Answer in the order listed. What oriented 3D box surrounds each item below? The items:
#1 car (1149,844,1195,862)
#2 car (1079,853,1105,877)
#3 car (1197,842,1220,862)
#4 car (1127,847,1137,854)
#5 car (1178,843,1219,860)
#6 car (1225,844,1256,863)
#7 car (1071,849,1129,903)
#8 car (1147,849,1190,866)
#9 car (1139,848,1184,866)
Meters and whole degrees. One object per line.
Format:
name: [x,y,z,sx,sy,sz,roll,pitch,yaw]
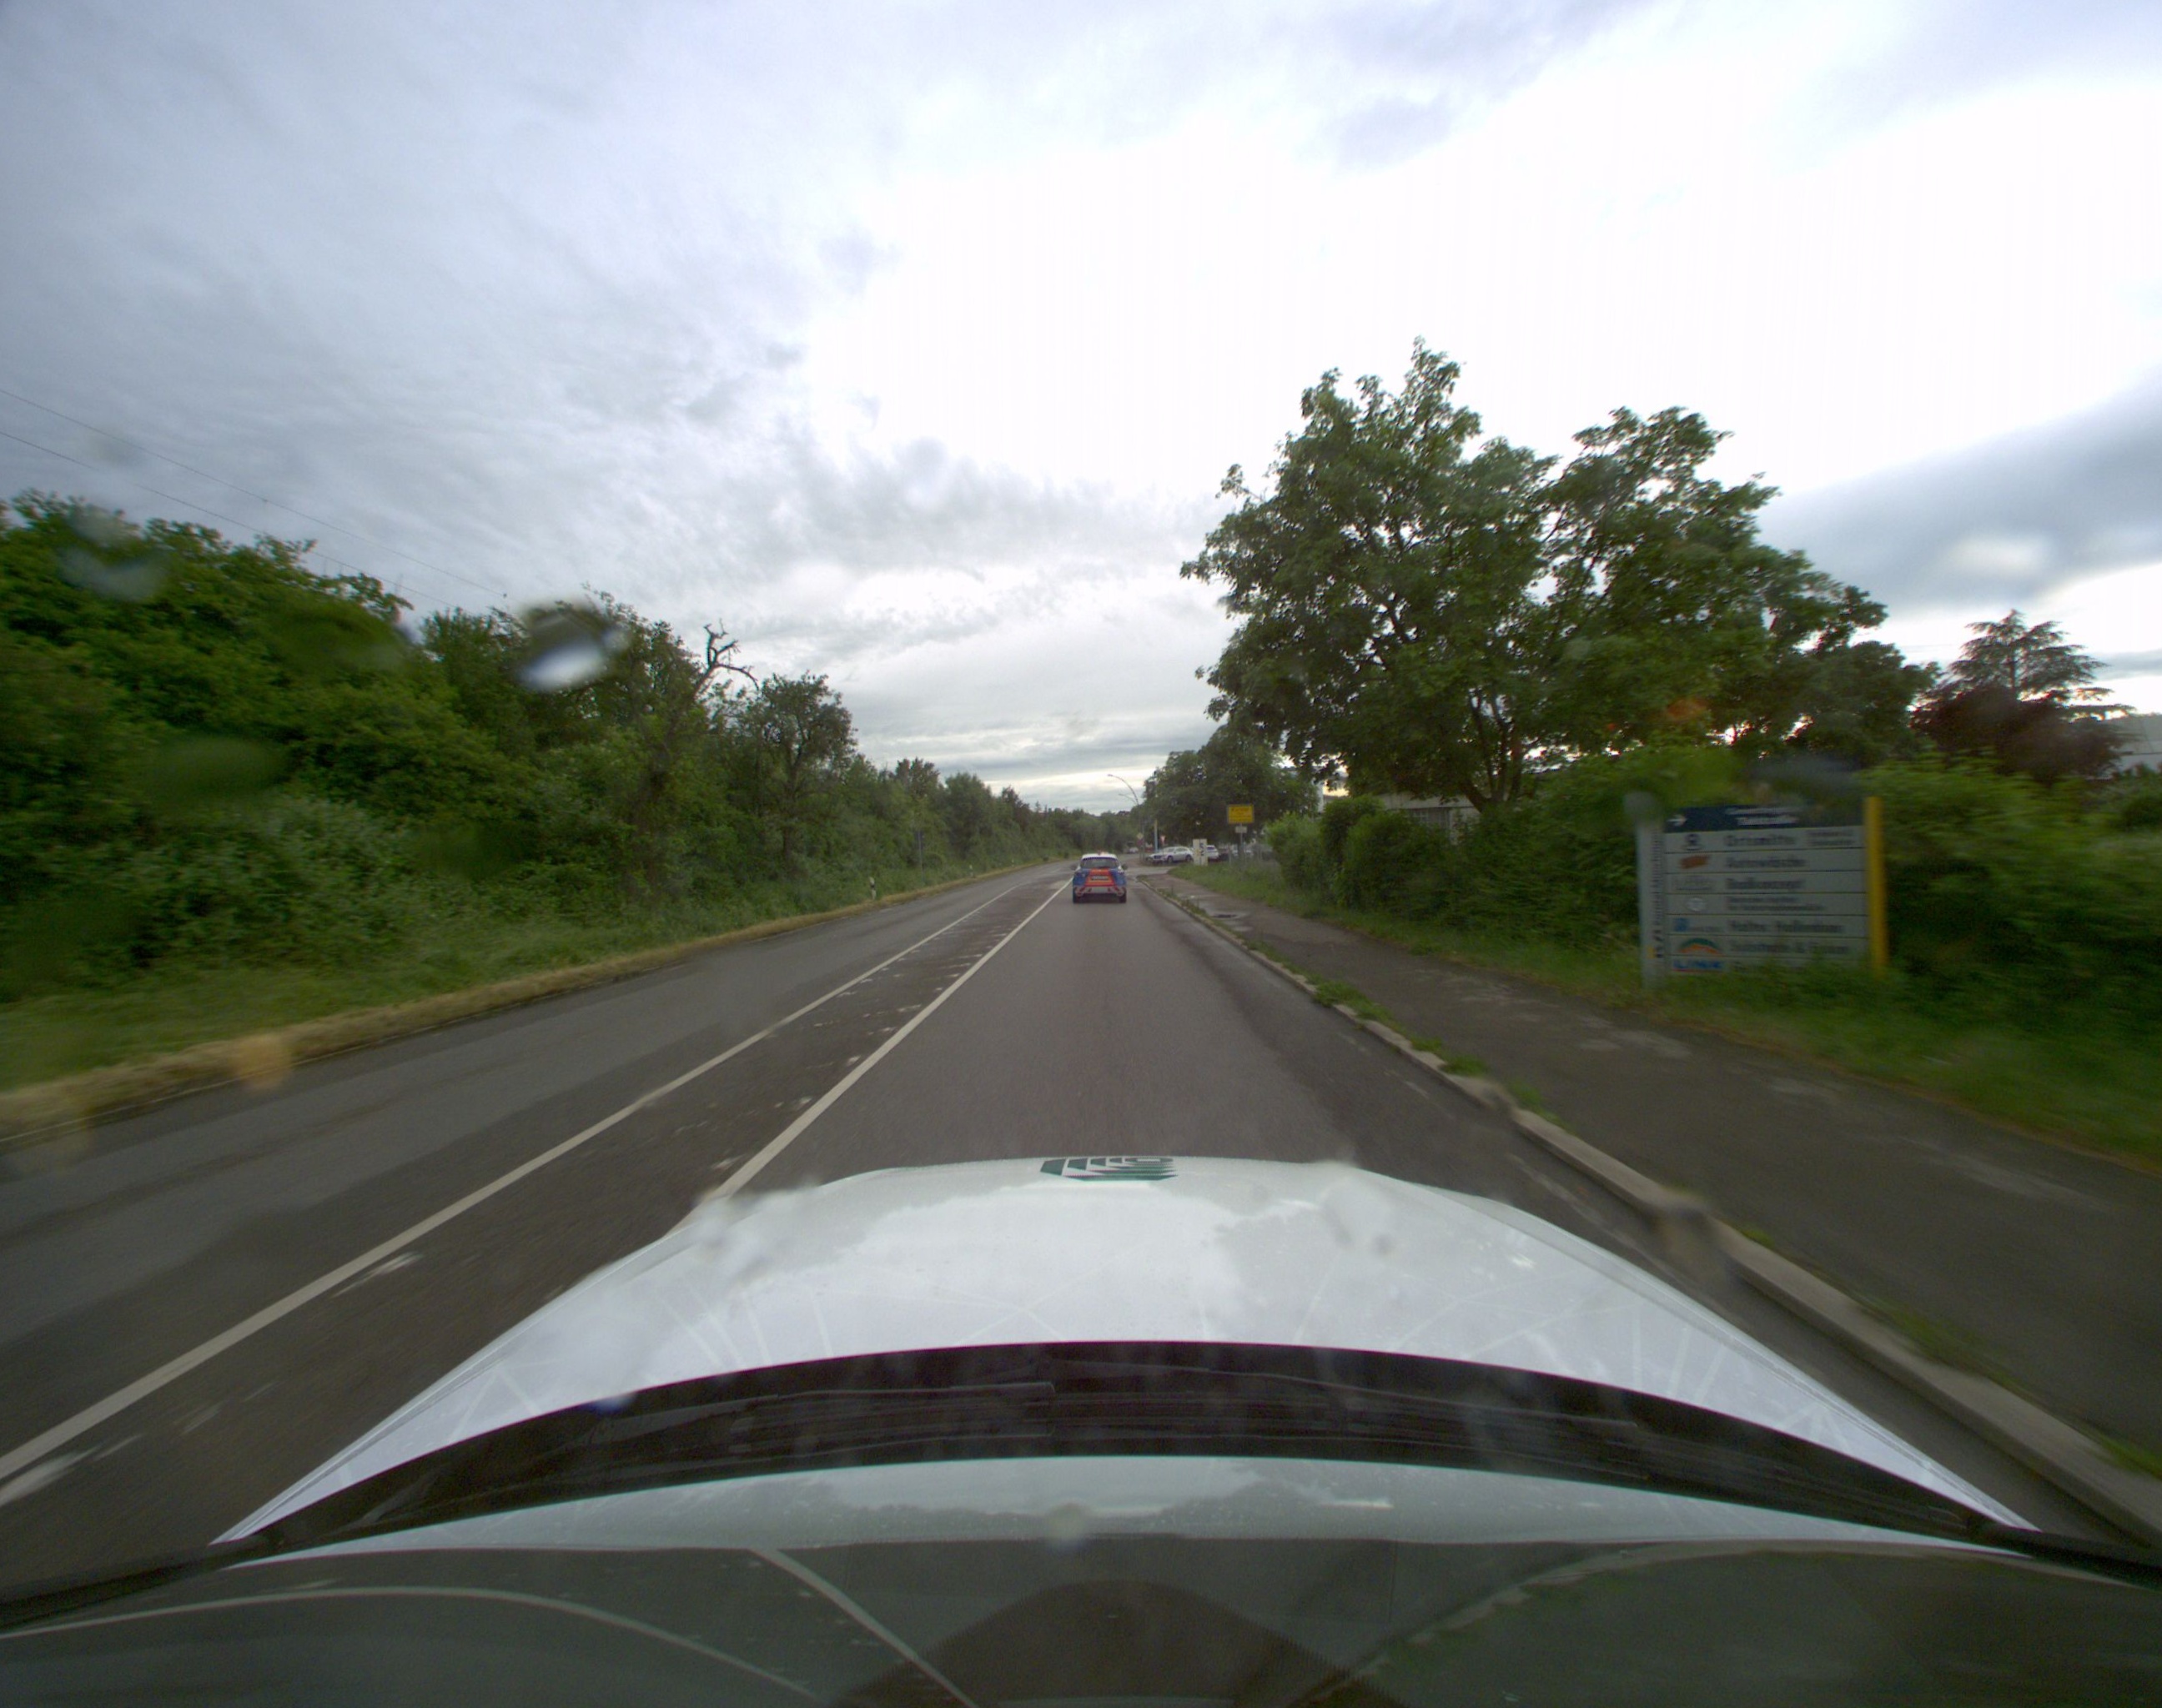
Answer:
car: [8.978,-0.056,80.451,4.644,1.751,2.010,0,-1,-44]
car: [0.790,0.728,56.534,1.687,1.595,3.857,0,-1,2]
car: [12.066,-0.144,77.178,1.818,1.829,4.268,0,-1,4]
car: [12.136,-0.837,194.279,1.682,1.790,3.870,0,-1,14]
car: [12.319,-0.266,85.465,1.907,1.751,4.647,-1,1,43]
car: [15.206,-0.062,77.836,1.930,1.751,4.616,0,-1,-1]
car: [0.626,0.683,27.108,1.799,1.668,3.856,0,-1,1]
car: [9.513,0.411,88.064,4.639,1.751,1.787,0,-2,-36]
car: [8.294,0.325,83.539,4.644,1.751,2.010,0,-3,-44]
